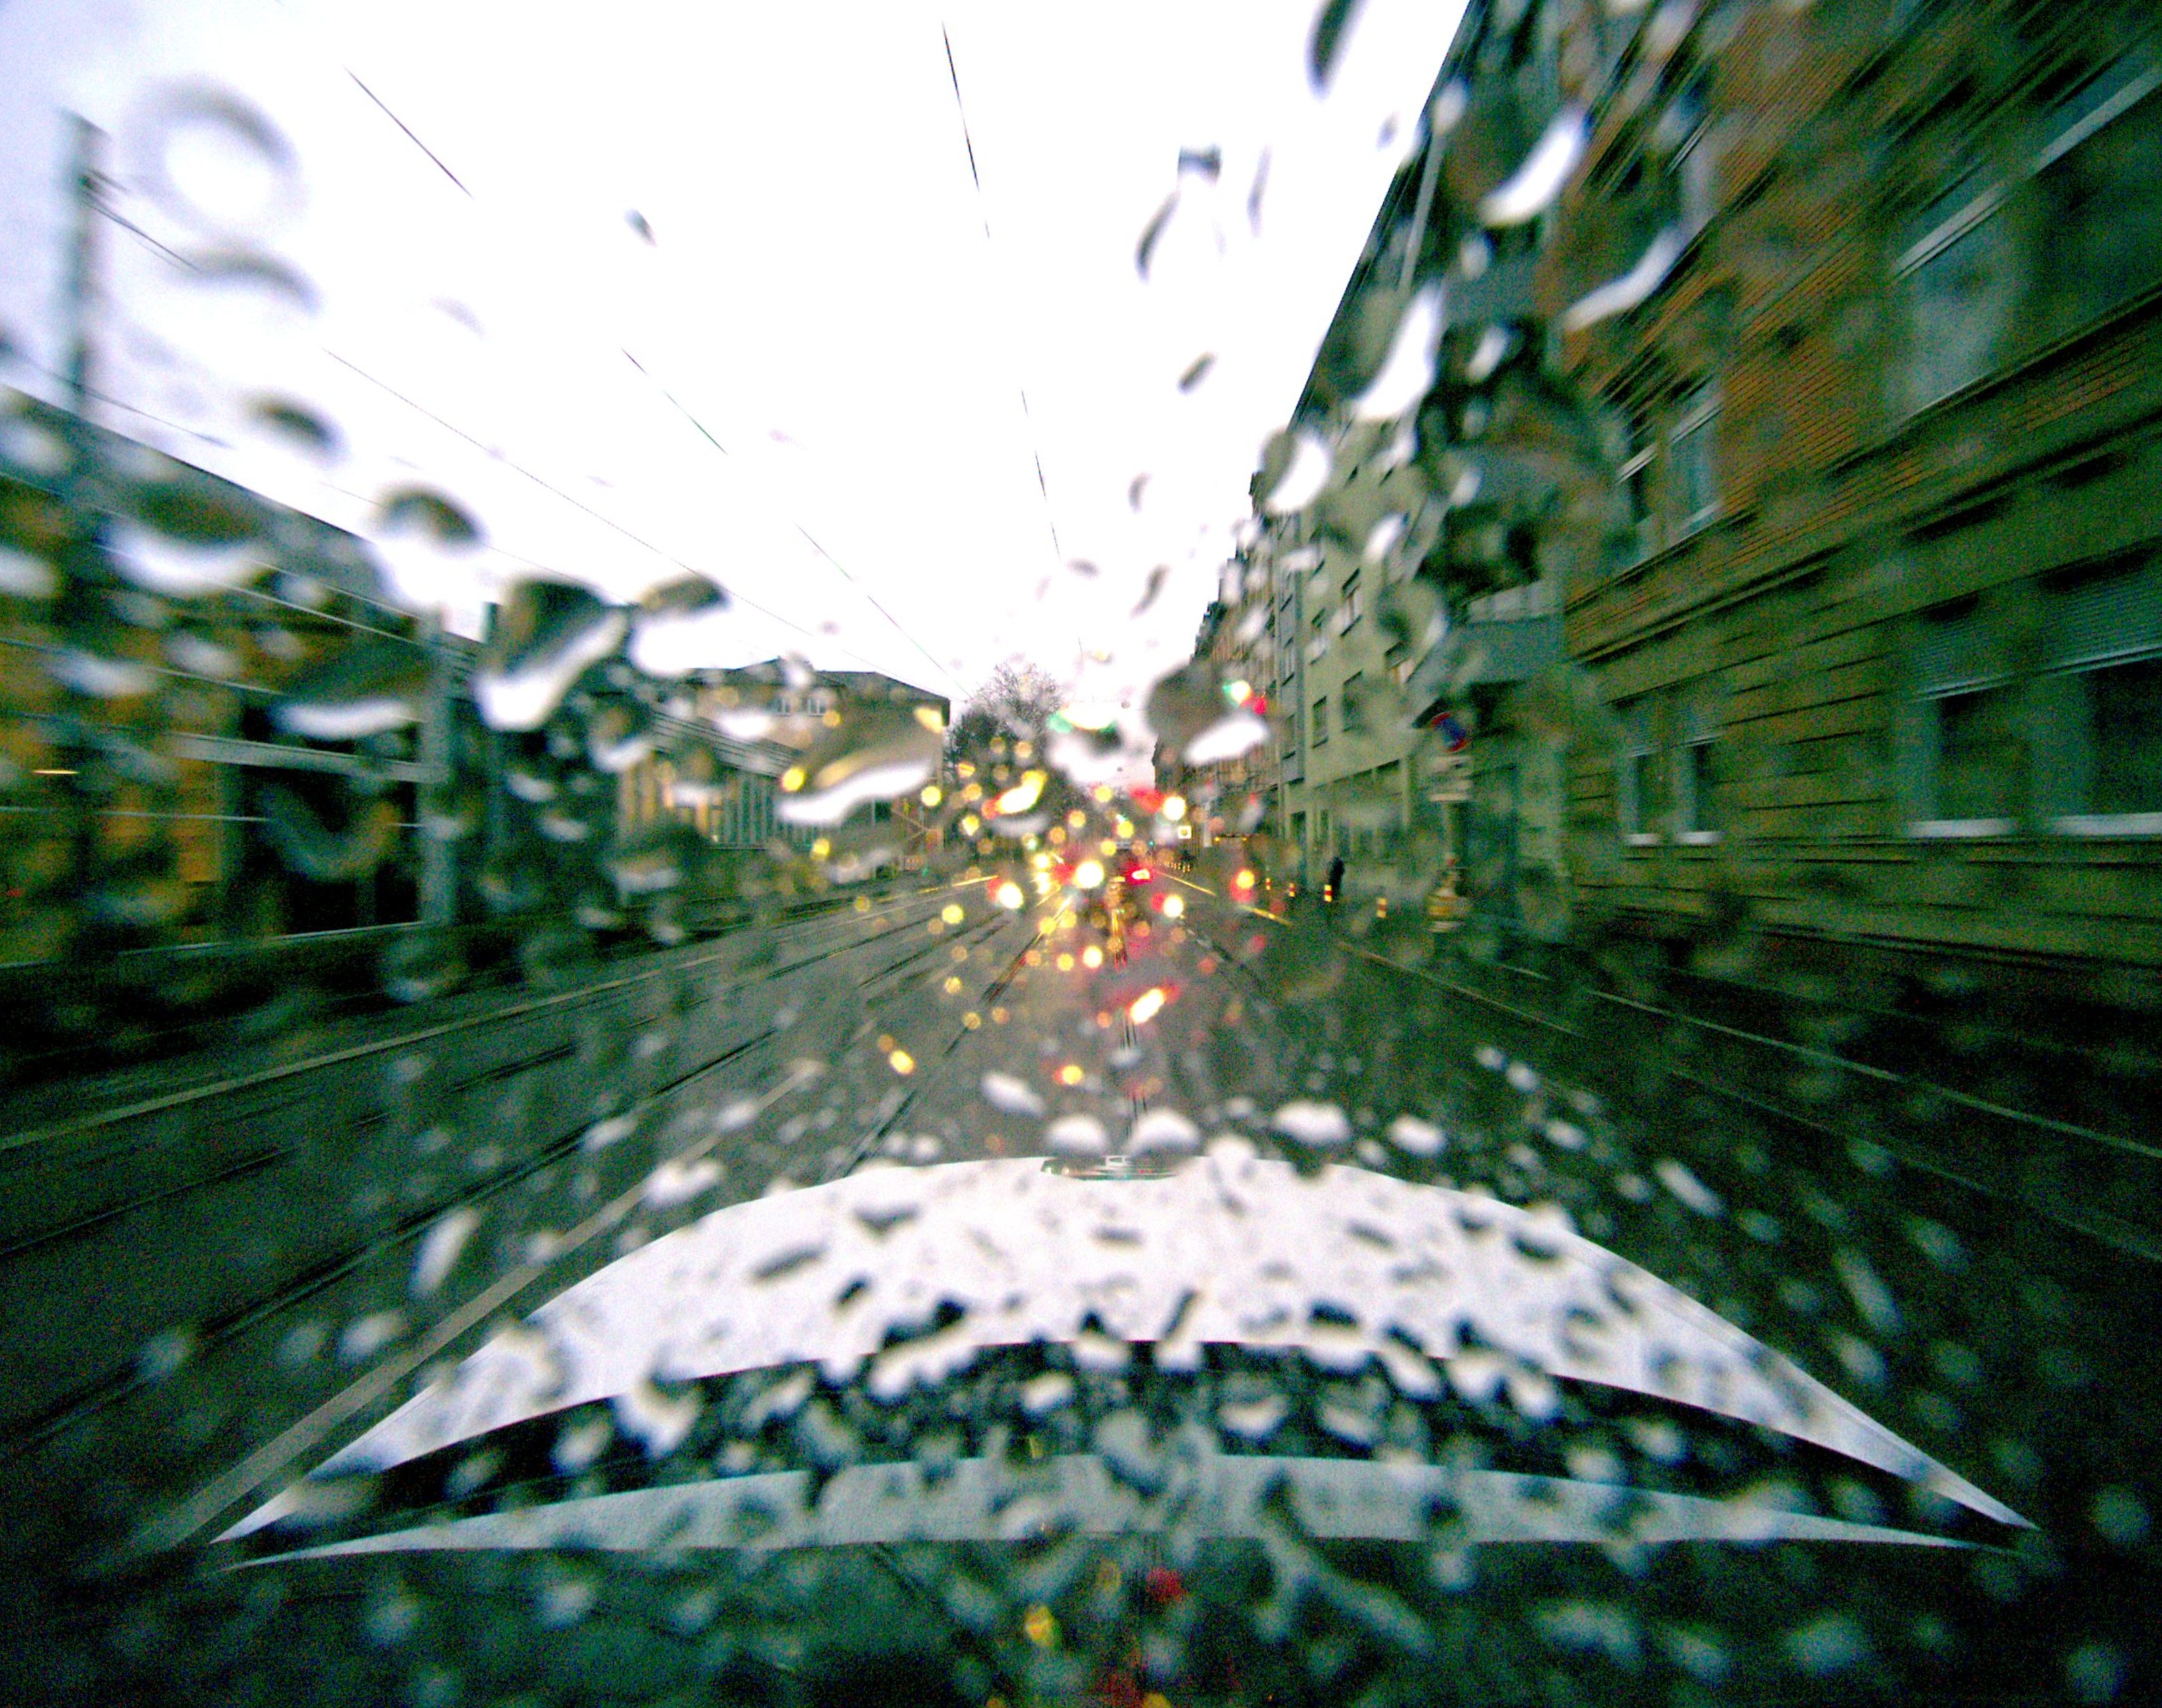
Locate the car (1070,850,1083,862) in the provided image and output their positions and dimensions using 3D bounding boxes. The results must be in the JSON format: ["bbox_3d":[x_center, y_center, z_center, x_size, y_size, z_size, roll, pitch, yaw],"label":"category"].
[{"bbox_3d":[-0.551,0.259,104.314,1.524,1.481,3.563,-1,0,2],"label":"car"}]

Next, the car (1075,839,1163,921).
[{"bbox_3d":[1.030,0.587,20.513,1.984,1.842,4.005,-1,0,5],"label":"car"}]

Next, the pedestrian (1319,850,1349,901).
[{"bbox_3d":[7.005,0.596,22.574,0.597,1.376,0.728,0,-1,1],"label":"pedestrian"}]

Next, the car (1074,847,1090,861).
[{"bbox_3d":[0.148,-0.013,142.271,2.437,2.347,5.848,-2,0,2],"label":"car"}]

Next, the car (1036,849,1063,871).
[{"bbox_3d":[-2.599,0.462,68.023,1.868,1.709,4.762,-2,0,1],"label":"car"}]

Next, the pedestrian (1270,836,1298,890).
[{"bbox_3d":[7.016,0.306,28.162,0.601,1.818,0.769,0,-1,-26],"label":"pedestrian"}]

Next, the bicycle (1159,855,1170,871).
[{"bbox_3d":[6.299,0.655,61.601,0.681,1.156,2.189,0,0,2],"label":"bicycle"}]

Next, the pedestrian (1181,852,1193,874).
[{"bbox_3d":[7.948,0.675,61.329,0.829,1.701,0.956,-1,-1,10],"label":"pedestrian"}]
